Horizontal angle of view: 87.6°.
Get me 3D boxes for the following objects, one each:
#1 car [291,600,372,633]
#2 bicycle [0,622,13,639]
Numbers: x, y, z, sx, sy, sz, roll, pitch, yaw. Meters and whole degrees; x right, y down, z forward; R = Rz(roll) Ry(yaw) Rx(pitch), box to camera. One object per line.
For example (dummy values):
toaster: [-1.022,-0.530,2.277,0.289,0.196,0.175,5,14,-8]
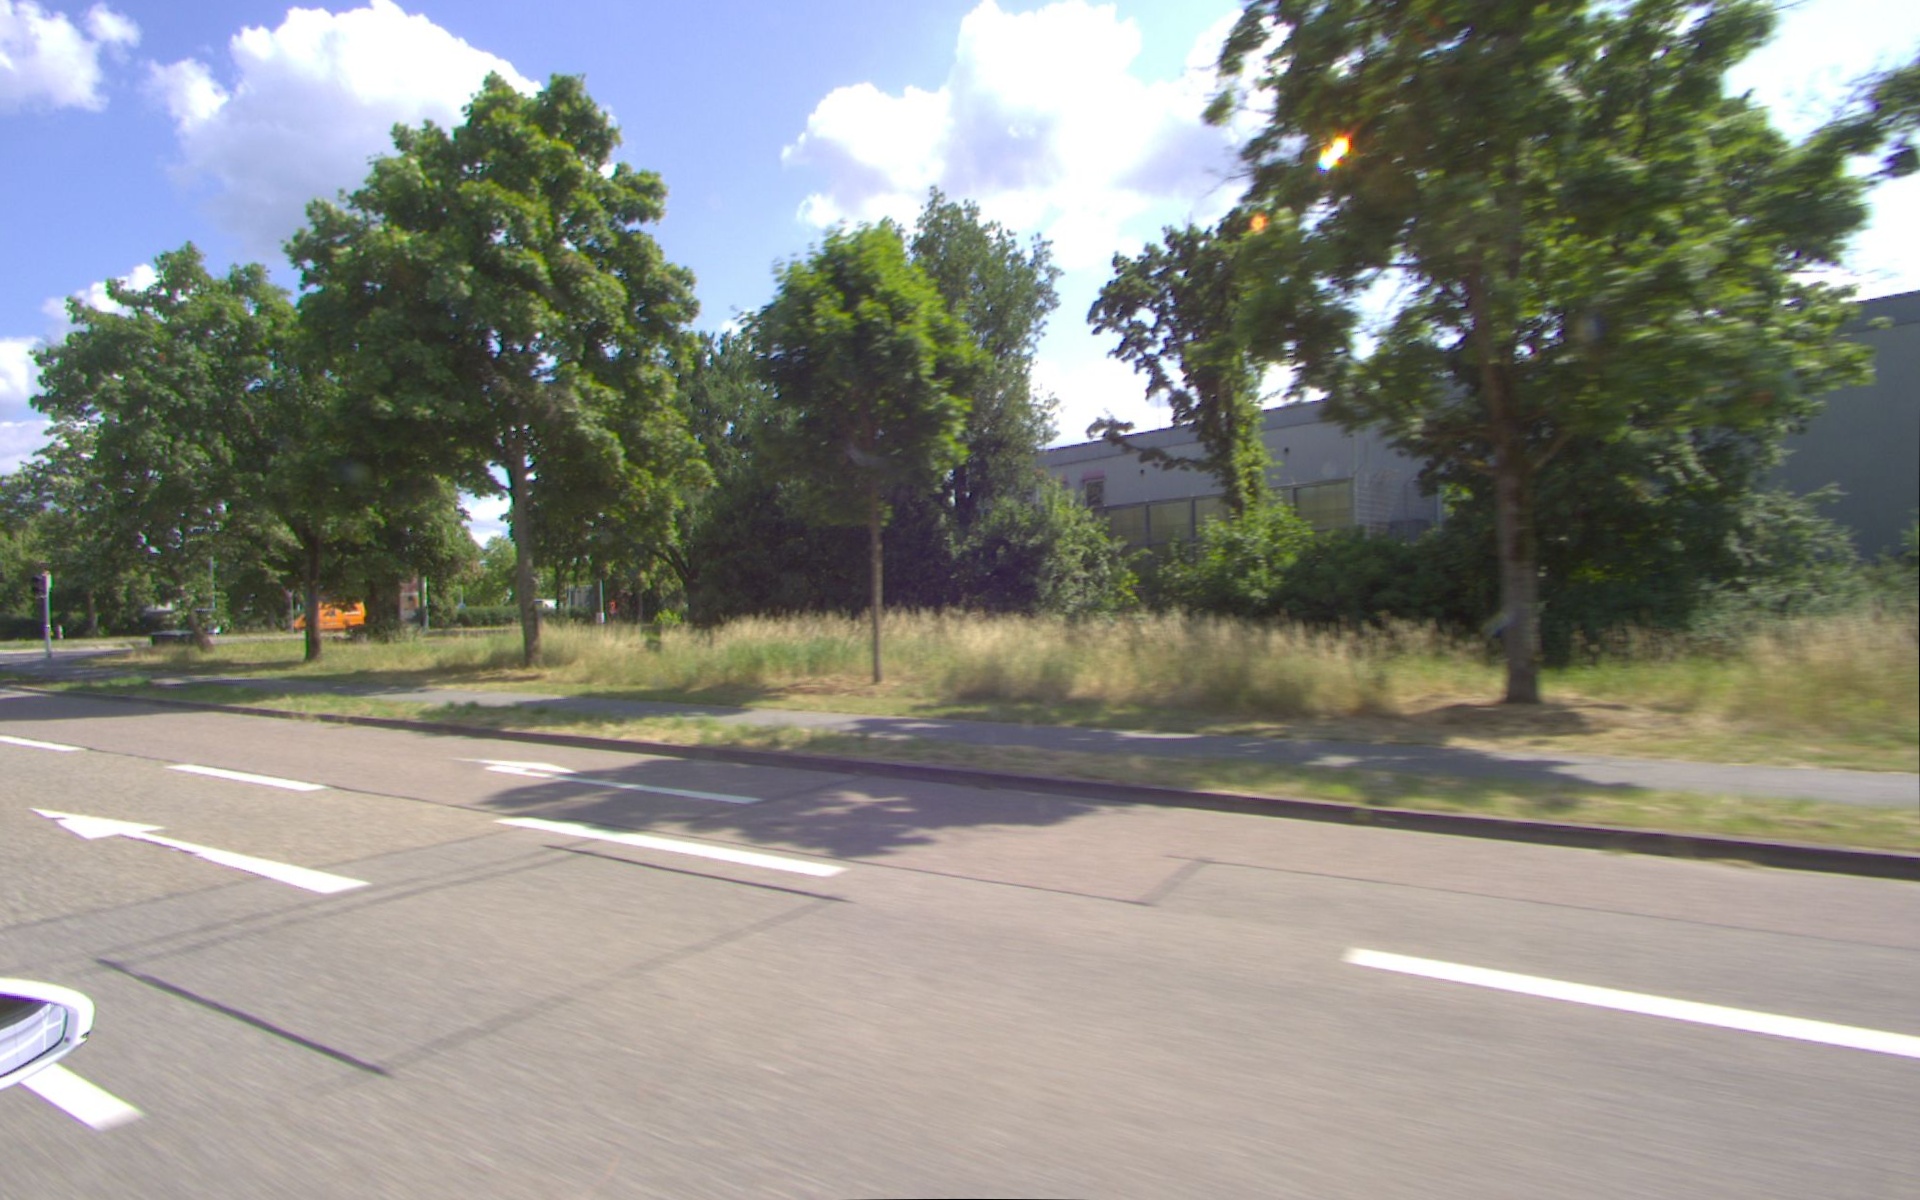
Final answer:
car: [-46.010,1.237,73.335,4.805,2.253,2.195,2,-3,-39]
bicycle: [-65.448,2.076,67.662,1.972,1.108,0.683,0,-1,-25]
